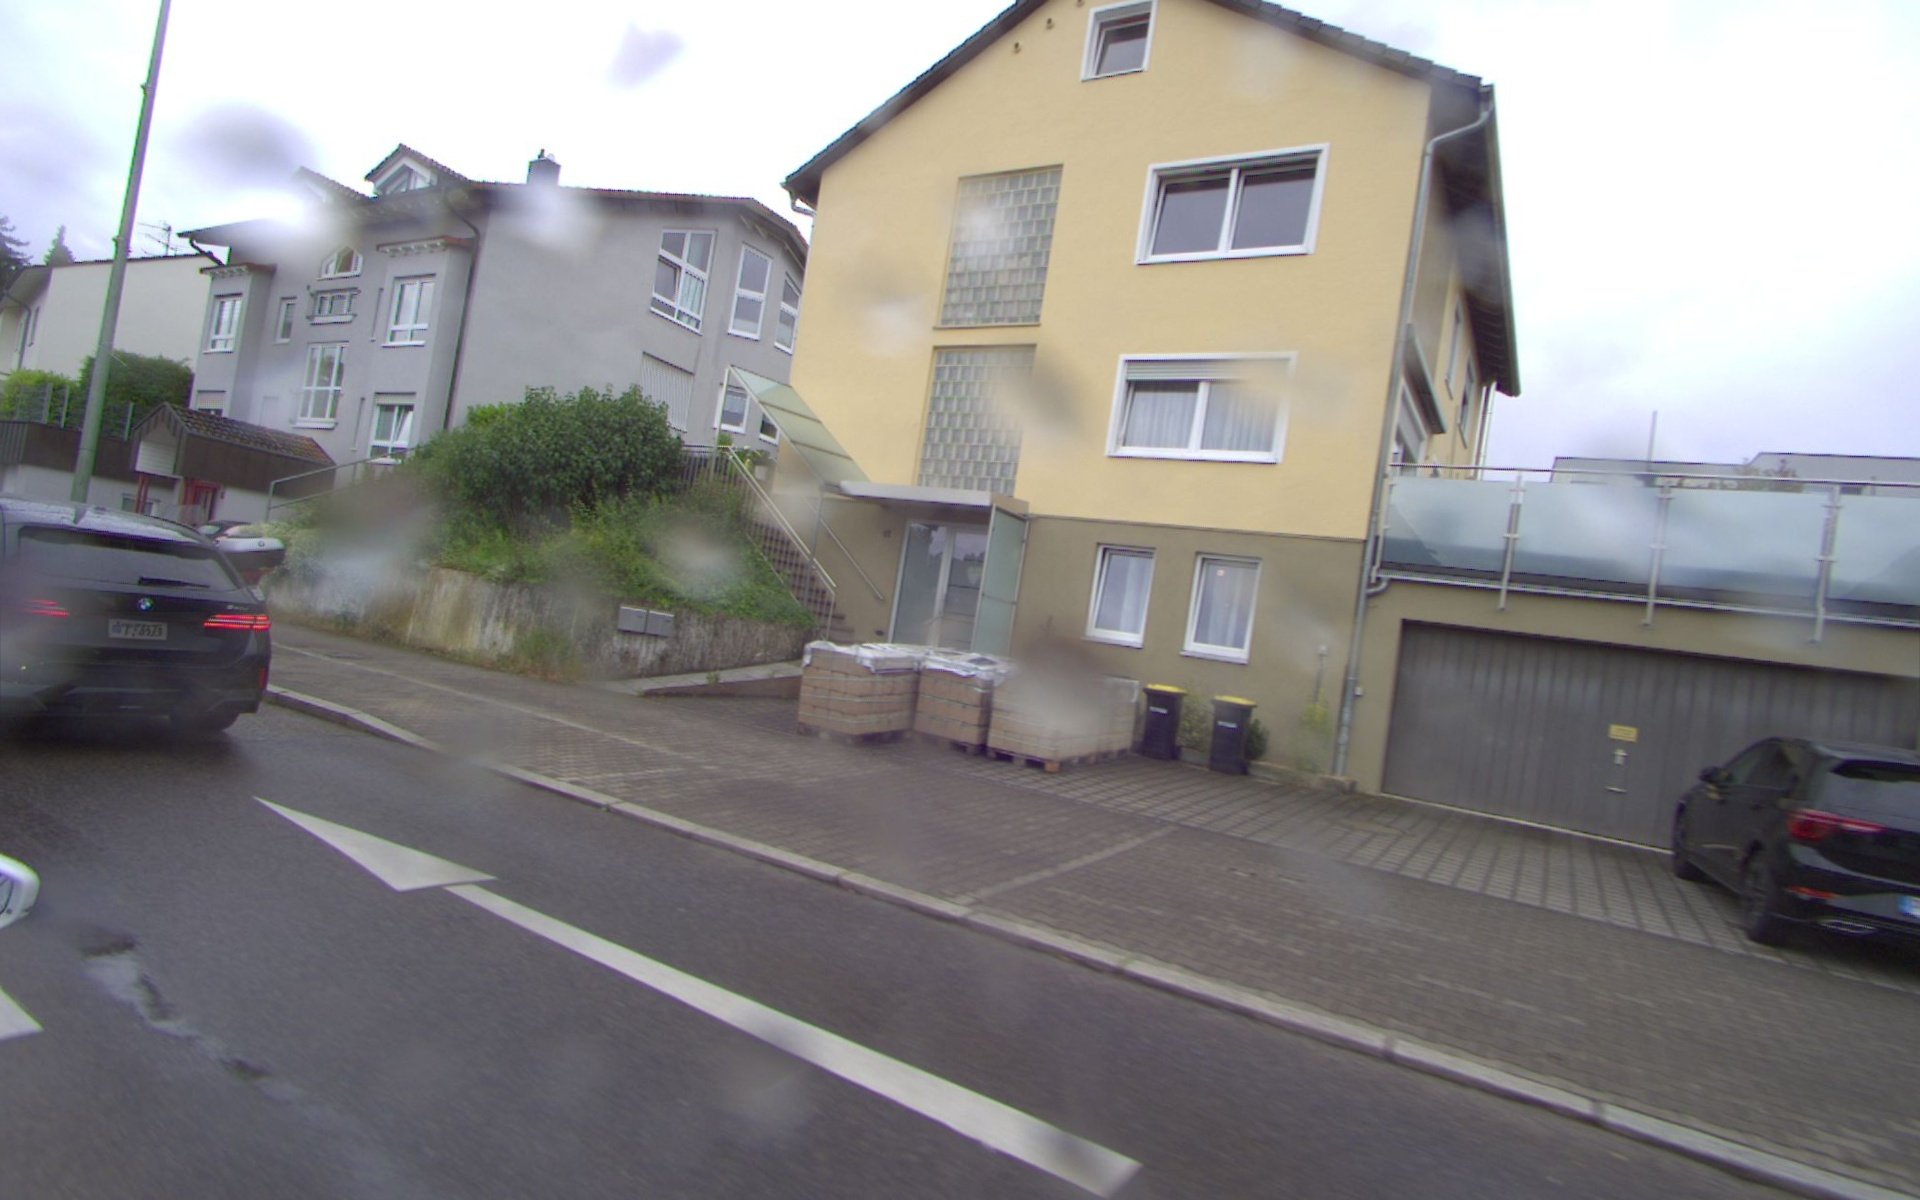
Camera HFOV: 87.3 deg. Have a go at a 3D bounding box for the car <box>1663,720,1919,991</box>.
[{"bbox_3d":[6.899,1.828,7.815,1.837,1.450,3.996,7,-2,30],"label":"car"}]

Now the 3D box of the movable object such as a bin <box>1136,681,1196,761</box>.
[{"bbox_3d":[2.742,1.602,13.363,0.533,0.959,0.491,7,-2,31],"label":"movable object such as a bin"}]

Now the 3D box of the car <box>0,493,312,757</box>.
[{"bbox_3d":[-6.786,0.029,7.298,3.936,1.500,1.997,7,-3,34],"label":"car"}]

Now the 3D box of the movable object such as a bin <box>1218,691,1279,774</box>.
[{"bbox_3d":[3.684,1.690,12.836,0.533,0.959,0.491,7,-2,31],"label":"movable object such as a bin"}]

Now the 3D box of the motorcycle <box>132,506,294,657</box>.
[{"bbox_3d":[-8.746,-0.237,11.748,2.115,1.528,0.704,7,1,32],"label":"motorcycle"}]
